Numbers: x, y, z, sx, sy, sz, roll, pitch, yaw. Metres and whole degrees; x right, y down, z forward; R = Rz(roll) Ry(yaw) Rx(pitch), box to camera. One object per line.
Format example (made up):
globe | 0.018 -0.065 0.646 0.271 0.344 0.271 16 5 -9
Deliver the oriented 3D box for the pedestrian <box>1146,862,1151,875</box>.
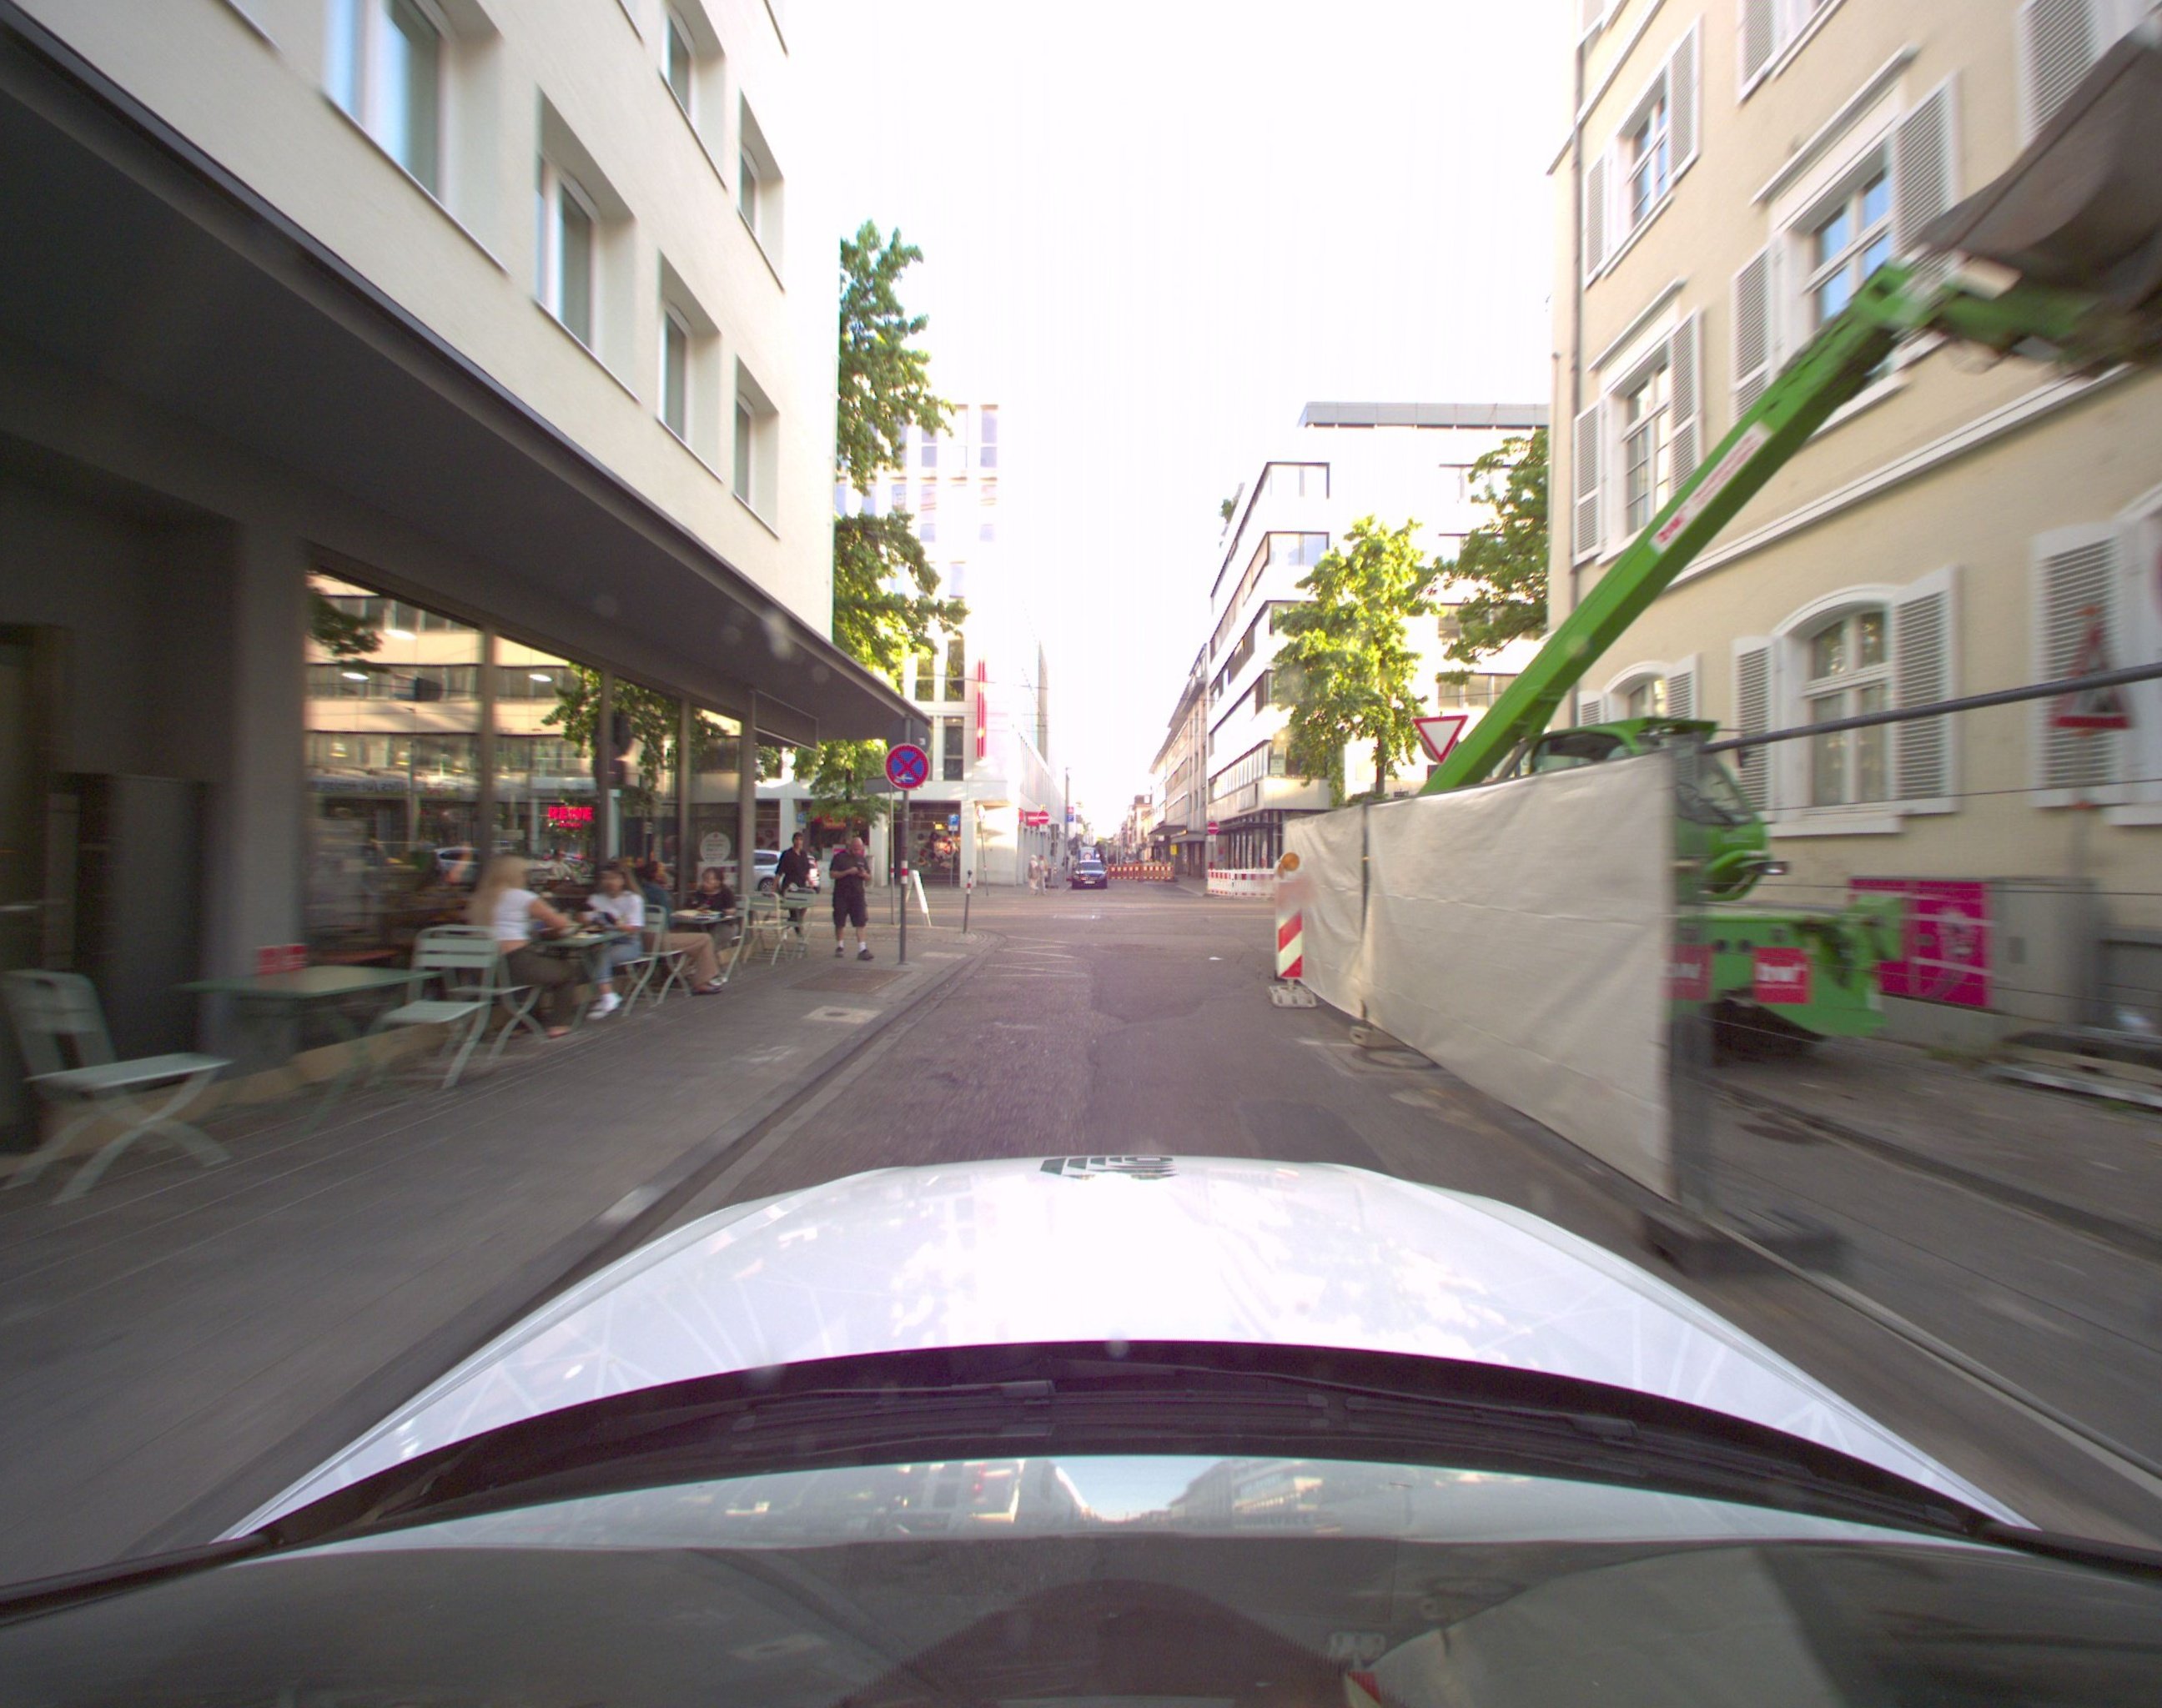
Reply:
pedestrian | 7.755 1.687 93.747 0.520 1.464 0.720 0 -1 9

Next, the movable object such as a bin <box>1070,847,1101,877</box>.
movable object such as a bin | 0.355 0.567 57.081 1.986 2.013 4.002 -1 0 2

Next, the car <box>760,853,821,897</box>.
car | -11.842 0.781 33.013 1.954 1.505 3.965 0 2 -25

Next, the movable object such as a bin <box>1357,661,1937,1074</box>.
movable object such as a bin | 4.674 0.098 7.884 2.595 2.839 4.451 -1 0 2

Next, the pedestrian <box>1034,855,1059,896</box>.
pedestrian | -1.424 0.868 33.447 0.614 1.627 0.863 0 -1 -36

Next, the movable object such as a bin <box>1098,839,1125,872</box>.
movable object such as a bin | 2.462 0.131 67.195 2.149 2.664 4.573 0 0 1

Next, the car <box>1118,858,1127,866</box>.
car | 9.184 1.758 181.316 1.986 1.776 4.001 -1 0 2

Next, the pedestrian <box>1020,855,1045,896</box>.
pedestrian | -1.971 0.874 33.063 0.614 1.627 0.863 0 -1 -36

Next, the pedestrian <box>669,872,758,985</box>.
pedestrian | -3.890 0.768 8.668 0.571 1.114 0.714 2 0 1

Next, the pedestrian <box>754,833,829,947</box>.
pedestrian | -4.460 0.530 12.519 0.802 1.668 0.892 2 -1 -38

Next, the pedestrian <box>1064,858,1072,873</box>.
pedestrian | -1.257 1.175 80.523 0.713 1.464 0.526 -1 0 3

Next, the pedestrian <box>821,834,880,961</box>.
pedestrian | -3.101 0.575 11.010 0.686 1.668 0.504 2 -1 -14

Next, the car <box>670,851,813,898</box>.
car | -11.983 0.743 28.970 4.259 1.593 1.826 0 -2 -2

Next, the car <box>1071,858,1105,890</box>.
car | 0.318 0.992 41.831 1.625 1.550 3.140 -1 0 -2

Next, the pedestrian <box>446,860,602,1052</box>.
pedestrian | -3.984 0.690 5.874 0.571 1.275 0.714 2 0 1

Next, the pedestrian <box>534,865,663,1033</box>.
pedestrian | -3.938 0.739 6.689 0.571 1.275 0.714 2 0 1

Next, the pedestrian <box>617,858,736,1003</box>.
pedestrian | -3.777 0.688 7.654 0.699 1.275 0.714 2 0 1

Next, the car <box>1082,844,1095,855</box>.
car | 1.258 -0.695 136.843 1.986 1.776 4.001 -1 0 2

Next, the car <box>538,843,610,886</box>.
car | -20.071 0.374 32.411 1.954 1.505 3.965 0 2 -25
